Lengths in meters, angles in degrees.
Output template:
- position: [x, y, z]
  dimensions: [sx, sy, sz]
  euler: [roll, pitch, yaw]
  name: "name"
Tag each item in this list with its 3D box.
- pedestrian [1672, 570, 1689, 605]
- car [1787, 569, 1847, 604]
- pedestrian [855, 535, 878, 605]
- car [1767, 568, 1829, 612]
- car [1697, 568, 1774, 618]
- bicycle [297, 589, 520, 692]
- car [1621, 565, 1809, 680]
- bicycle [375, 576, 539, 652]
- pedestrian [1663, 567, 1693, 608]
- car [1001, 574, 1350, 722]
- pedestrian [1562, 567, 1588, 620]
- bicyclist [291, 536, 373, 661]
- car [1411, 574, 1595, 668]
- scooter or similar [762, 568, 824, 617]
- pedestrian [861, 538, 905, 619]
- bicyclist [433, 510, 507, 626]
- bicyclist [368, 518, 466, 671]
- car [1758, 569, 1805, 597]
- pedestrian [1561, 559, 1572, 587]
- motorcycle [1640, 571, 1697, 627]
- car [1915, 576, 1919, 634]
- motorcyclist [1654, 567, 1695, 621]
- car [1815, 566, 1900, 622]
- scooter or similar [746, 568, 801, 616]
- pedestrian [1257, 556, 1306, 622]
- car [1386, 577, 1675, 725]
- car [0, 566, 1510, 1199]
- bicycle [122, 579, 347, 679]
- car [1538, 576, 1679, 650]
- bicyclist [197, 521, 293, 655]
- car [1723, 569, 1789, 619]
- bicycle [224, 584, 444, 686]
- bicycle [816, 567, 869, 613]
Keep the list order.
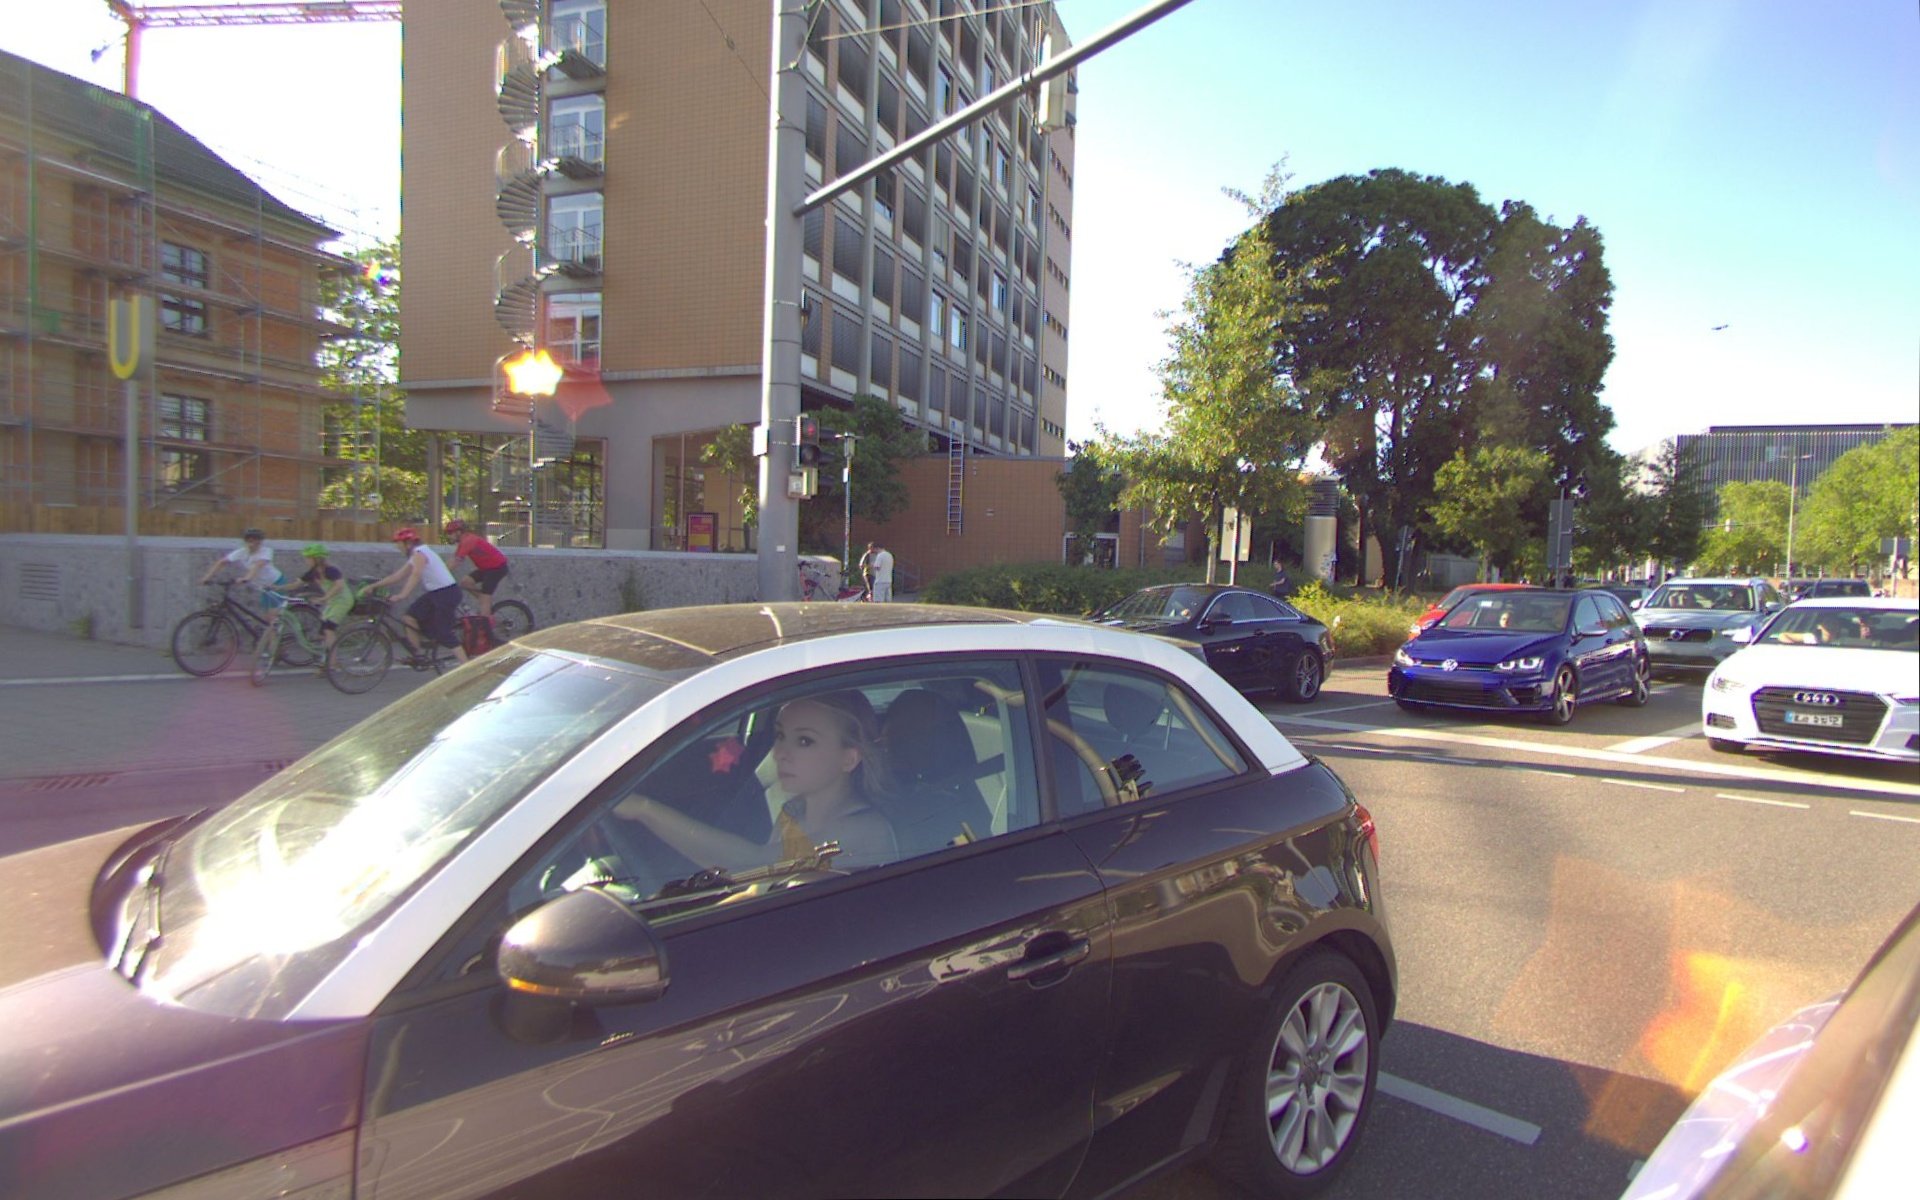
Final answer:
- position: [33.340, -0.578, 46.824]
  dimensions: [0.593, 1.614, 0.586]
  euler: [1, 1, 43]
  name: "pedestrian"
- position: [48.421, -0.788, 57.264]
  dimensions: [1.865, 1.838, 3.957]
  euler: [3, 3, 31]
  name: "car"
- position: [-2.345, -0.757, 25.438]
  dimensions: [0.441, 1.753, 0.371]
  euler: [1, 1, 37]
  name: "pedestrian"
- position: [37.610, -0.480, 45.499]
  dimensions: [1.869, 1.838, 3.948]
  euler: [3, 3, 36]
  name: "car"
- position: [26.885, -0.281, 35.026]
  dimensions: [1.740, 1.564, 3.939]
  euler: [3, 3, 42]
  name: "car"
- position: [-5.881, 0.390, 10.883]
  dimensions: [2.002, 0.975, 0.658]
  euler: [-2, 2, -44]
  name: "bicycle"
- position: [12.268, 0.258, 16.349]
  dimensions: [4.152, 1.641, 1.626]
  euler: [-2, 2, -42]
  name: "car"
- position: [-7.025, 0.164, 14.174]
  dimensions: [1.996, 0.975, 0.661]
  euler: [-1, 3, -33]
  name: "bicycle"
- position: [36.192, -0.631, 50.988]
  dimensions: [1.138, 2.038, 1.268]
  euler: [1, 1, 40]
  name: "pedestrian"
- position: [2.691, 0.419, 12.021]
  dimensions: [4.432, 1.422, 1.726]
  euler: [-2, 2, -40]
  name: "car"
- position: [22.439, -0.231, 36.932]
  dimensions: [0.681, 1.909, 0.466]
  euler: [-1, 1, -22]
  name: "pedestrian"
- position: [-6.979, -0.028, 11.246]
  dimensions: [0.662, 1.331, 0.616]
  euler: [-1, 1, -43]
  name: "bicyclist"
- position: [9.731, 0.285, 18.036]
  dimensions: [3.972, 1.478, 1.626]
  euler: [-2, 2, -42]
  name: "car"
- position: [-3.511, -0.176, 21.303]
  dimensions: [0.341, 1.008, 1.351]
  euler: [1, 2, 44]
  name: "scooter or similar"
- position: [-1.637, -0.458, 21.495]
  dimensions: [0.591, 1.659, 0.678]
  euler: [-1, 5, -41]
  name: "pedestrian"
- position: [-6.891, -0.448, 14.240]
  dimensions: [0.854, 1.580, 0.618]
  euler: [-1, 1, -33]
  name: "bicyclist"
- position: [-5.850, -0.071, 10.904]
  dimensions: [0.781, 1.572, 0.667]
  euler: [-1, 1, -43]
  name: "bicyclist"
- position: [55.685, -1.179, 68.656]
  dimensions: [1.865, 1.838, 3.957]
  euler: [3, 3, 31]
  name: "car"
- position: [34.264, -1.539, 57.174]
  dimensions: [0.543, 1.549, 0.598]
  euler: [0, 1, 32]
  name: "pedestrian"
- position: [17.359, -0.057, 24.782]
  dimensions: [2.198, 1.321, 0.716]
  euler: [-2, 2, -44]
  name: "motorcycle"
- position: [28.083, 0.138, 28.411]
  dimensions: [1.741, 1.564, 3.938]
  euler: [3, 3, 43]
  name: "car"
- position: [17.827, -0.165, 25.244]
  dimensions: [0.723, 1.321, 0.716]
  euler: [-1, 2, -43]
  name: "motorcyclist"
- position: [32.279, -0.258, 36.495]
  dimensions: [1.869, 1.838, 3.948]
  euler: [3, 3, 36]
  name: "car"
- position: [-3.982, -0.185, 21.691]
  dimensions: [0.340, 1.008, 1.357]
  euler: [0, 1, 32]
  name: "scooter or similar"
- position: [8.678, -0.301, 27.302]
  dimensions: [1.006, 1.742, 0.873]
  euler: [1, 1, 41]
  name: "pedestrian"
- position: [6.756, 0.461, 11.829]
  dimensions: [3.929, 1.422, 1.627]
  euler: [-2, 2, -39]
  name: "car"
- position: [-0.427, 0.638, 2.343]
  dimensions: [3.929, 1.422, 1.627]
  euler: [-2, 2, -39]
  name: "car"
- position: [-8.154, 0.280, 11.490]
  dimensions: [0.653, 0.975, 2.019]
  euler: [4, 3, 24]
  name: "bicycle"
- position: [14.415, 0.212, 22.428]
  dimensions: [3.972, 1.478, 1.626]
  euler: [-2, 2, -42]
  name: "car"
- position: [-8.128, -0.144, 11.519]
  dimensions: [0.610, 1.472, 0.668]
  euler: [0, 1, 22]
  name: "bicyclist"
- position: [31.379, -0.280, 39.991]
  dimensions: [1.869, 1.838, 3.948]
  euler: [3, 3, 36]
  name: "car"
- position: [-6.939, 0.345, 11.305]
  dimensions: [2.002, 0.974, 0.659]
  euler: [-2, 5, -44]
  name: "bicycle"
- position: [-2.595, -0.223, 22.392]
  dimensions: [1.134, 1.016, 0.357]
  euler: [0, 1, -9]
  name: "bicycle"
